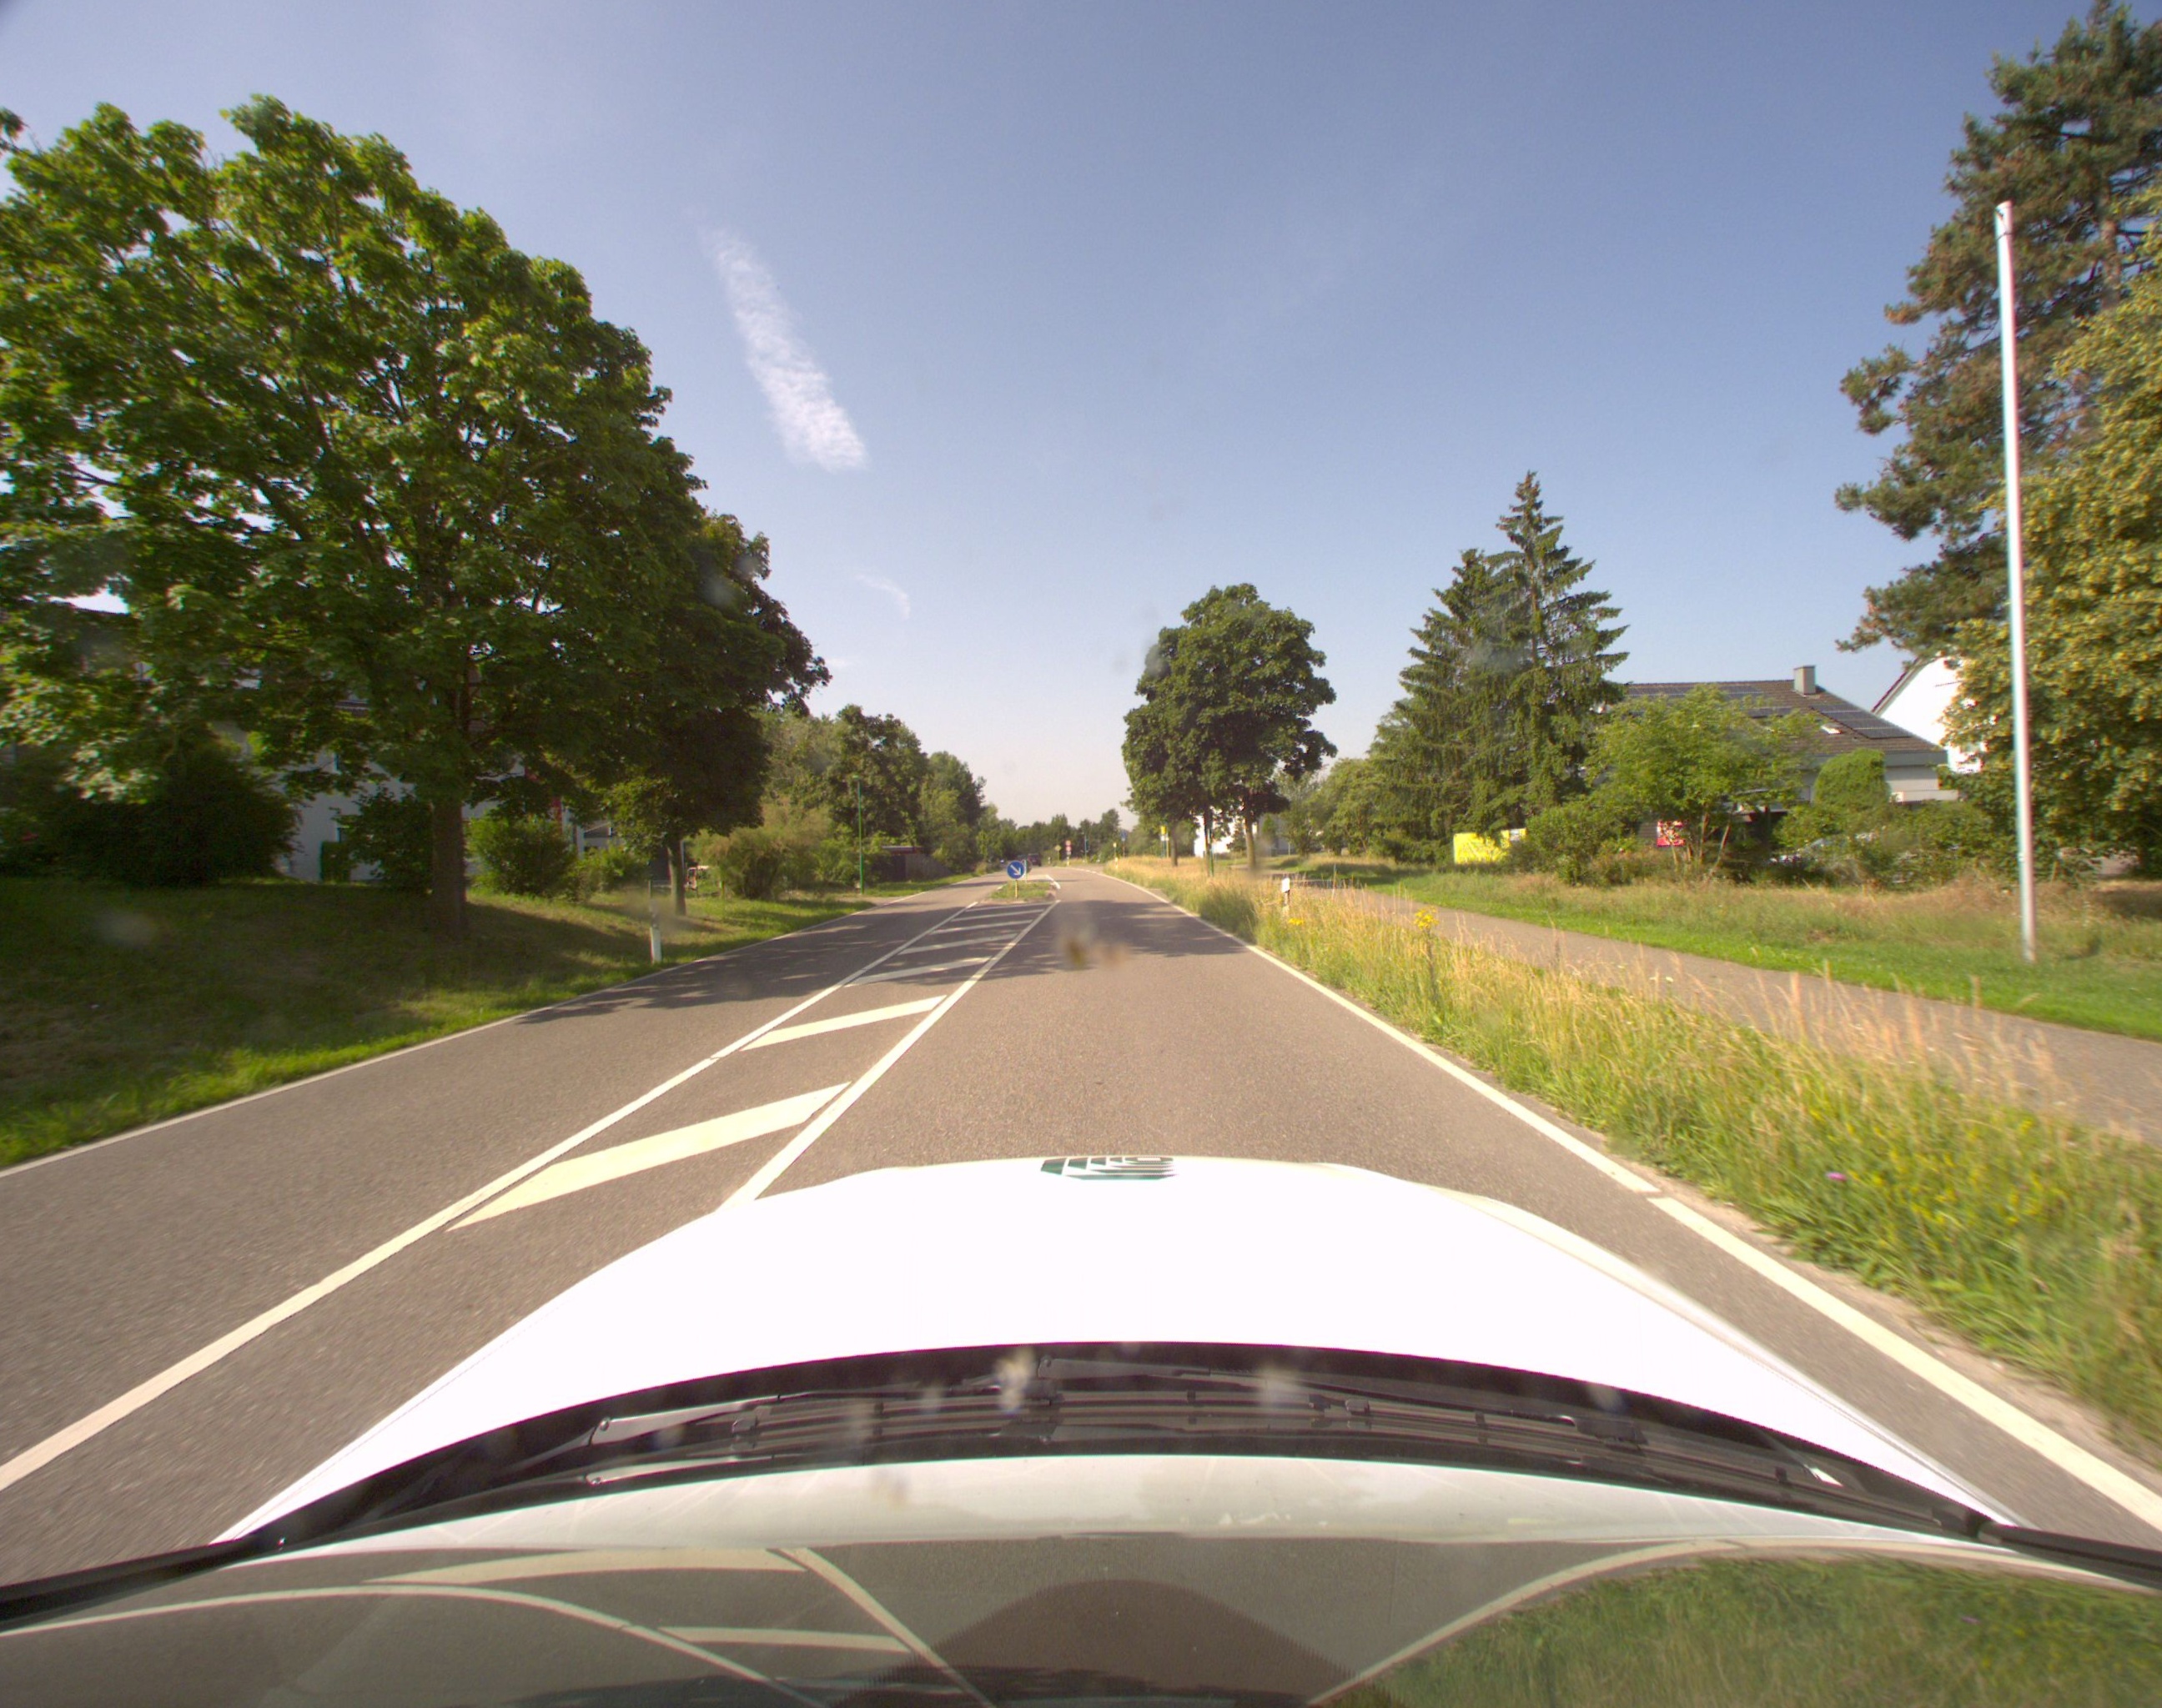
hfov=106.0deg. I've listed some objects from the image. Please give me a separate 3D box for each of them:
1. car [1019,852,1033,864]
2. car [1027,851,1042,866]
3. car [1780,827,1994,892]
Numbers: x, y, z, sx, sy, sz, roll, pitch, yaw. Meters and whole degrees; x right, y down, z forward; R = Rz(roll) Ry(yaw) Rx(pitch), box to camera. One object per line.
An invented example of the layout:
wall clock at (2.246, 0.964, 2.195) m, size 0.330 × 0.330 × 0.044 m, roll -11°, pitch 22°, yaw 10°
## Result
car at (-8.445, 0.637, 125.104) m, size 2.001 × 1.771 × 3.993 m, roll -2°, pitch 0°, yaw -5°
car at (-6.025, 0.549, 105.527) m, size 1.921 × 1.771 × 3.995 m, roll -2°, pitch 0°, yaw -4°
car at (20.612, 0.131, 20.913) m, size 3.983 × 1.434 × 1.811 m, roll -3°, pitch 0°, yaw -7°
